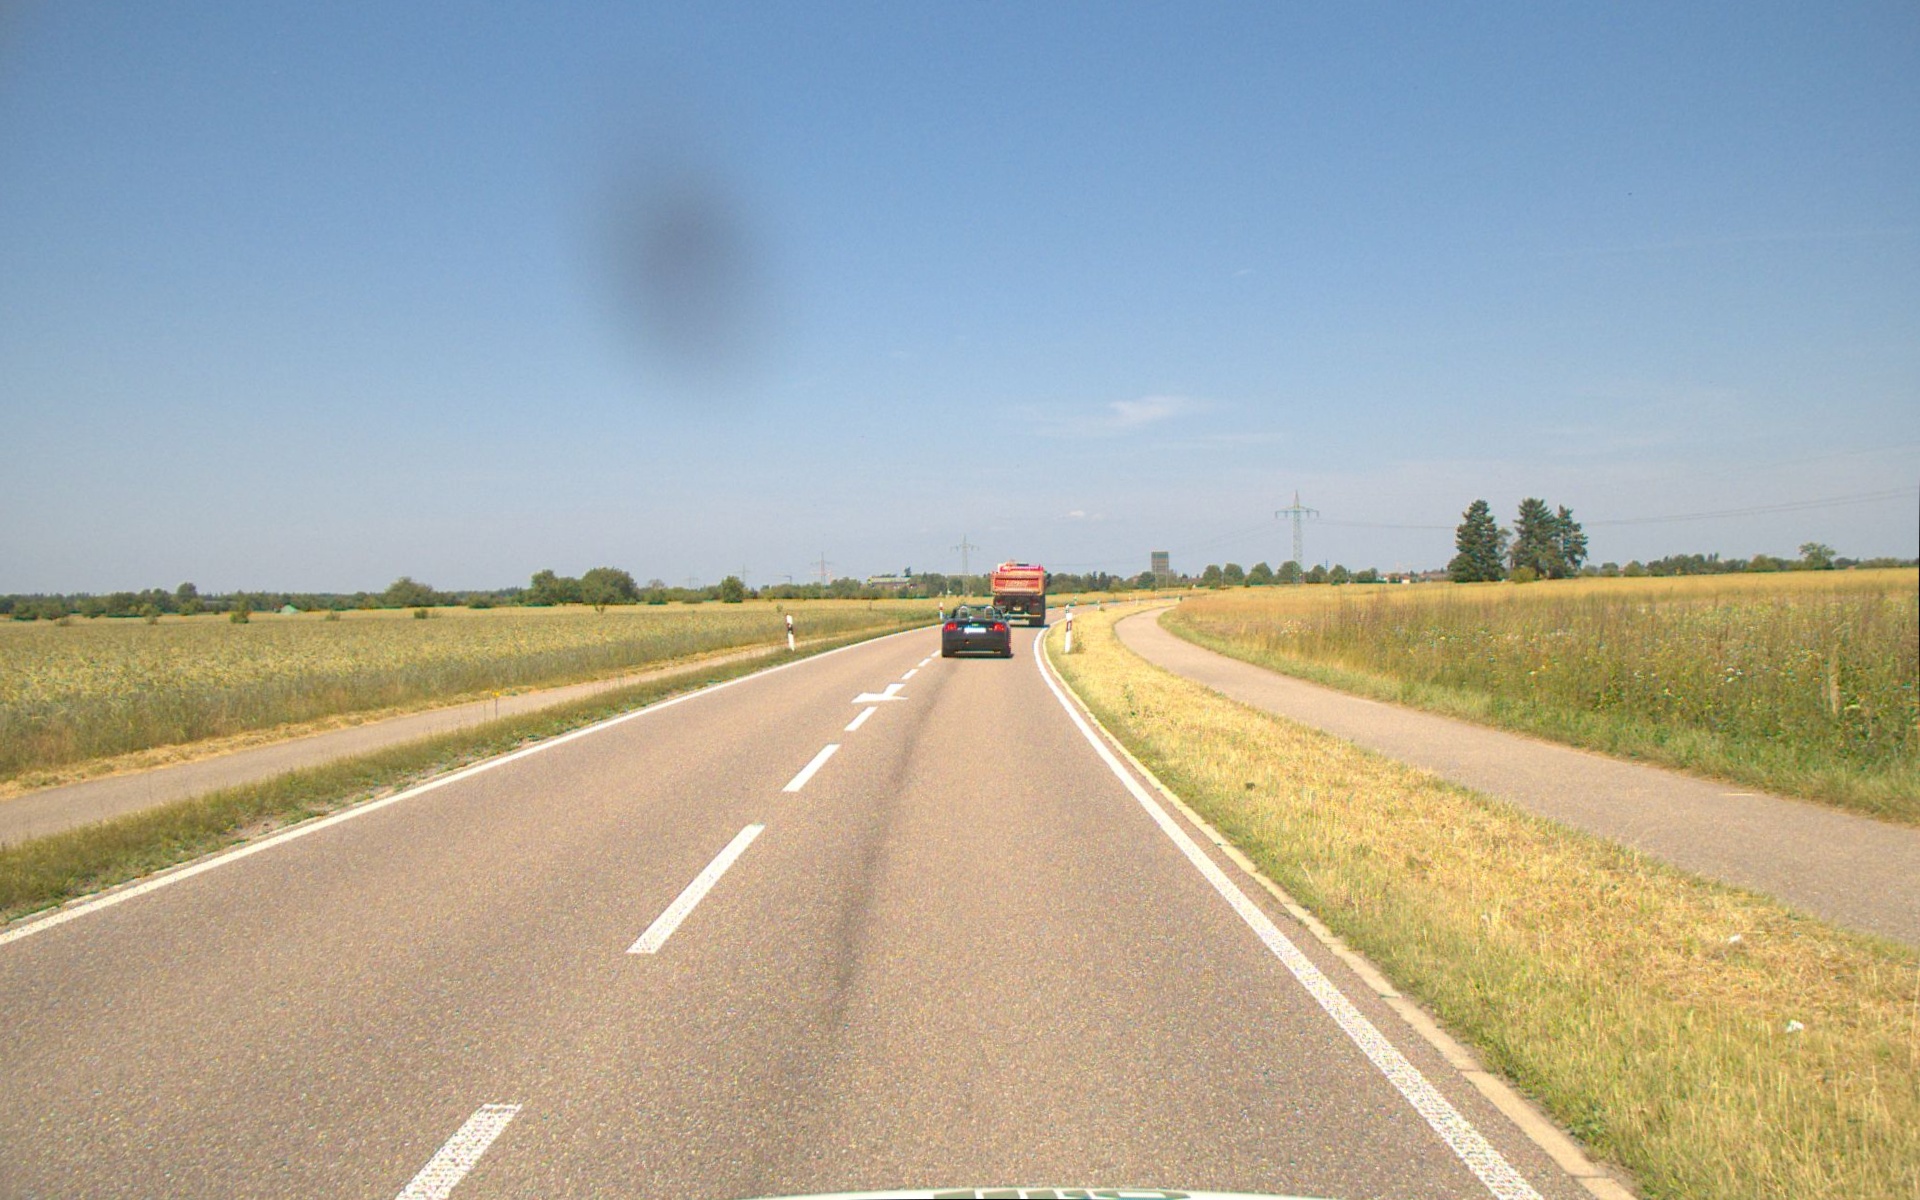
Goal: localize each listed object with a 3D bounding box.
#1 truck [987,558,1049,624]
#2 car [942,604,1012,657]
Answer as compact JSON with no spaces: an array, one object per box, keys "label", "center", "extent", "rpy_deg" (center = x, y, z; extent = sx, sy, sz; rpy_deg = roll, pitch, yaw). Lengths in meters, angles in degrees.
[{"label":"truck","center":[2.974,-0.415,82.999],"extent":[2.876,3.143,7.199],"rpy_deg":[0,0,4]},{"label":"car","center":[0.468,0.752,42.574],"extent":[1.708,1.302,4.001],"rpy_deg":[0,0,2]}]
